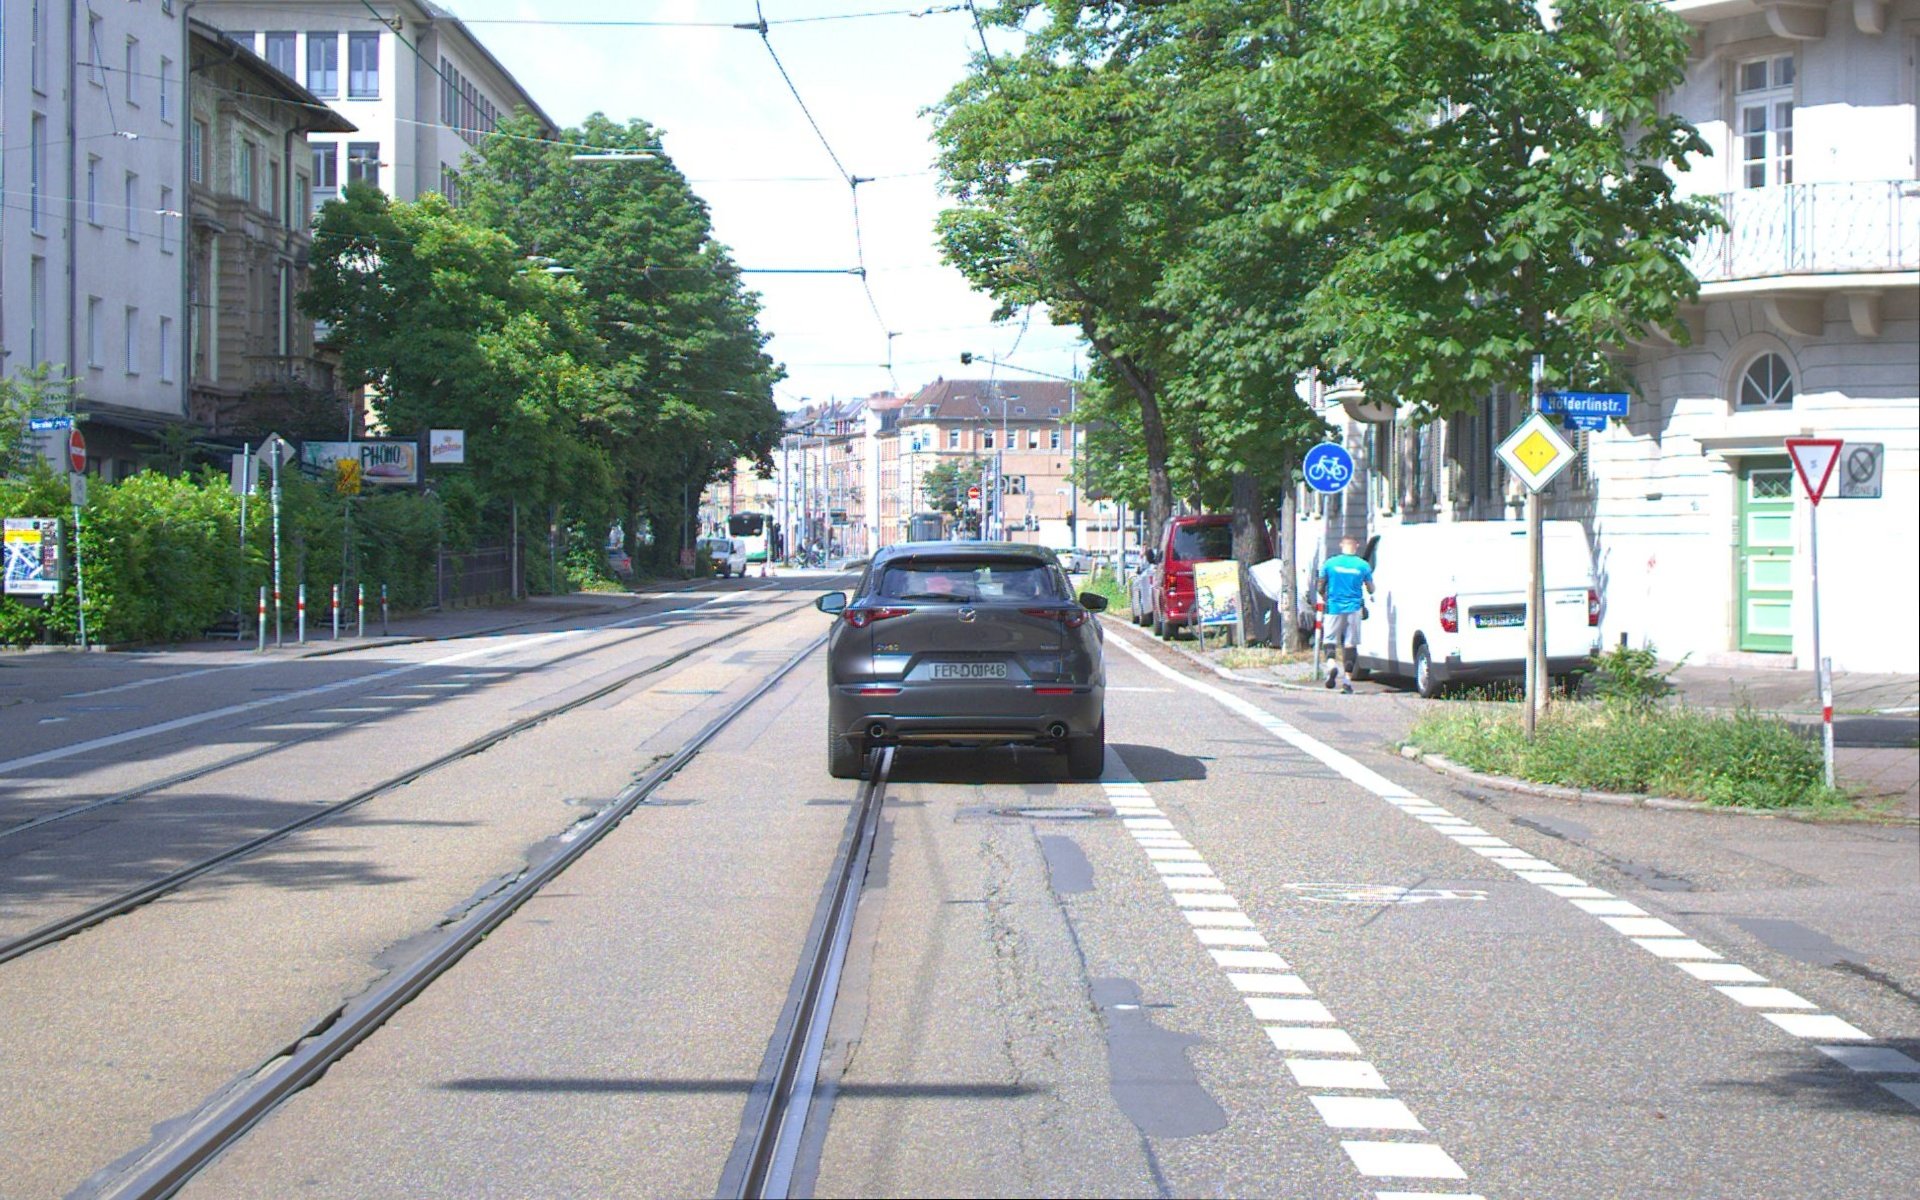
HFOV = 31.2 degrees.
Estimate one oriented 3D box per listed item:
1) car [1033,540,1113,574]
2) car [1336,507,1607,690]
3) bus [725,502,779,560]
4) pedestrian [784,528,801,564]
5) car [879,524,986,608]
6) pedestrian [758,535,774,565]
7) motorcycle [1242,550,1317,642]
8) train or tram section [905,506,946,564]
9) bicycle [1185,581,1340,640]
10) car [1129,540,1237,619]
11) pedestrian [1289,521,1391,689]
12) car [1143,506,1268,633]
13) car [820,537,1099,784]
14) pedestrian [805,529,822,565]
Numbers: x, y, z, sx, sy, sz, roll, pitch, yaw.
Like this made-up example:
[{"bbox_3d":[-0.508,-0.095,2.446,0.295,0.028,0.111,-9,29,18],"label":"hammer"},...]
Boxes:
[{"bbox_3d":[5.948,-2.252,180.655,3.805,1.612,1.638,2,1,-18],"label":"car"},{"bbox_3d":[5.682,-0.067,38.857,1.786,1.932,4.992,0,1,-6],"label":"car"},{"bbox_3d":[-13.100,-4.346,215.409,2.688,3.409,11.020,2,1,-6],"label":"bus"},{"bbox_3d":[-9.445,-3.046,193.818,0.884,2.007,0.618,0,1,-4],"label":"pedestrian"},{"bbox_3d":[-0.555,-0.692,68.511,1.993,1.523,4.000,3,1,-1],"label":"car"},{"bbox_3d":[-9.558,-2.470,169.620,0.751,1.505,0.824,0,1,-5],"label":"pedestrian"},{"bbox_3d":[4.537,-0.070,48.951,0.794,1.267,2.422,0,1,-1],"label":"motorcycle"},{"bbox_3d":[-2.283,-4.331,230.097,2.571,3.759,13.026,0,1,0],"label":"train or tram section"},{"bbox_3d":[4.553,0.157,51.836,2.275,0.858,0.672,0,1,-1],"label":"bicycle"},{"bbox_3d":[4.116,-0.397,63.877,1.720,1.419,3.590,0,1,-1],"label":"car"},{"bbox_3d":[4.232,0.041,38.260,0.816,1.829,0.961,1,2,26],"label":"pedestrian"},{"bbox_3d":[3.940,-0.513,55.701,1.720,1.962,4.207,0,1,0],"label":"car"},{"bbox_3d":[-0.028,0.342,23.107,1.720,1.521,3.590,0,1,-1],"label":"car"},{"bbox_3d":[-8.261,-2.978,193.822,0.884,2.007,0.618,0,1,-4],"label":"pedestrian"}]
